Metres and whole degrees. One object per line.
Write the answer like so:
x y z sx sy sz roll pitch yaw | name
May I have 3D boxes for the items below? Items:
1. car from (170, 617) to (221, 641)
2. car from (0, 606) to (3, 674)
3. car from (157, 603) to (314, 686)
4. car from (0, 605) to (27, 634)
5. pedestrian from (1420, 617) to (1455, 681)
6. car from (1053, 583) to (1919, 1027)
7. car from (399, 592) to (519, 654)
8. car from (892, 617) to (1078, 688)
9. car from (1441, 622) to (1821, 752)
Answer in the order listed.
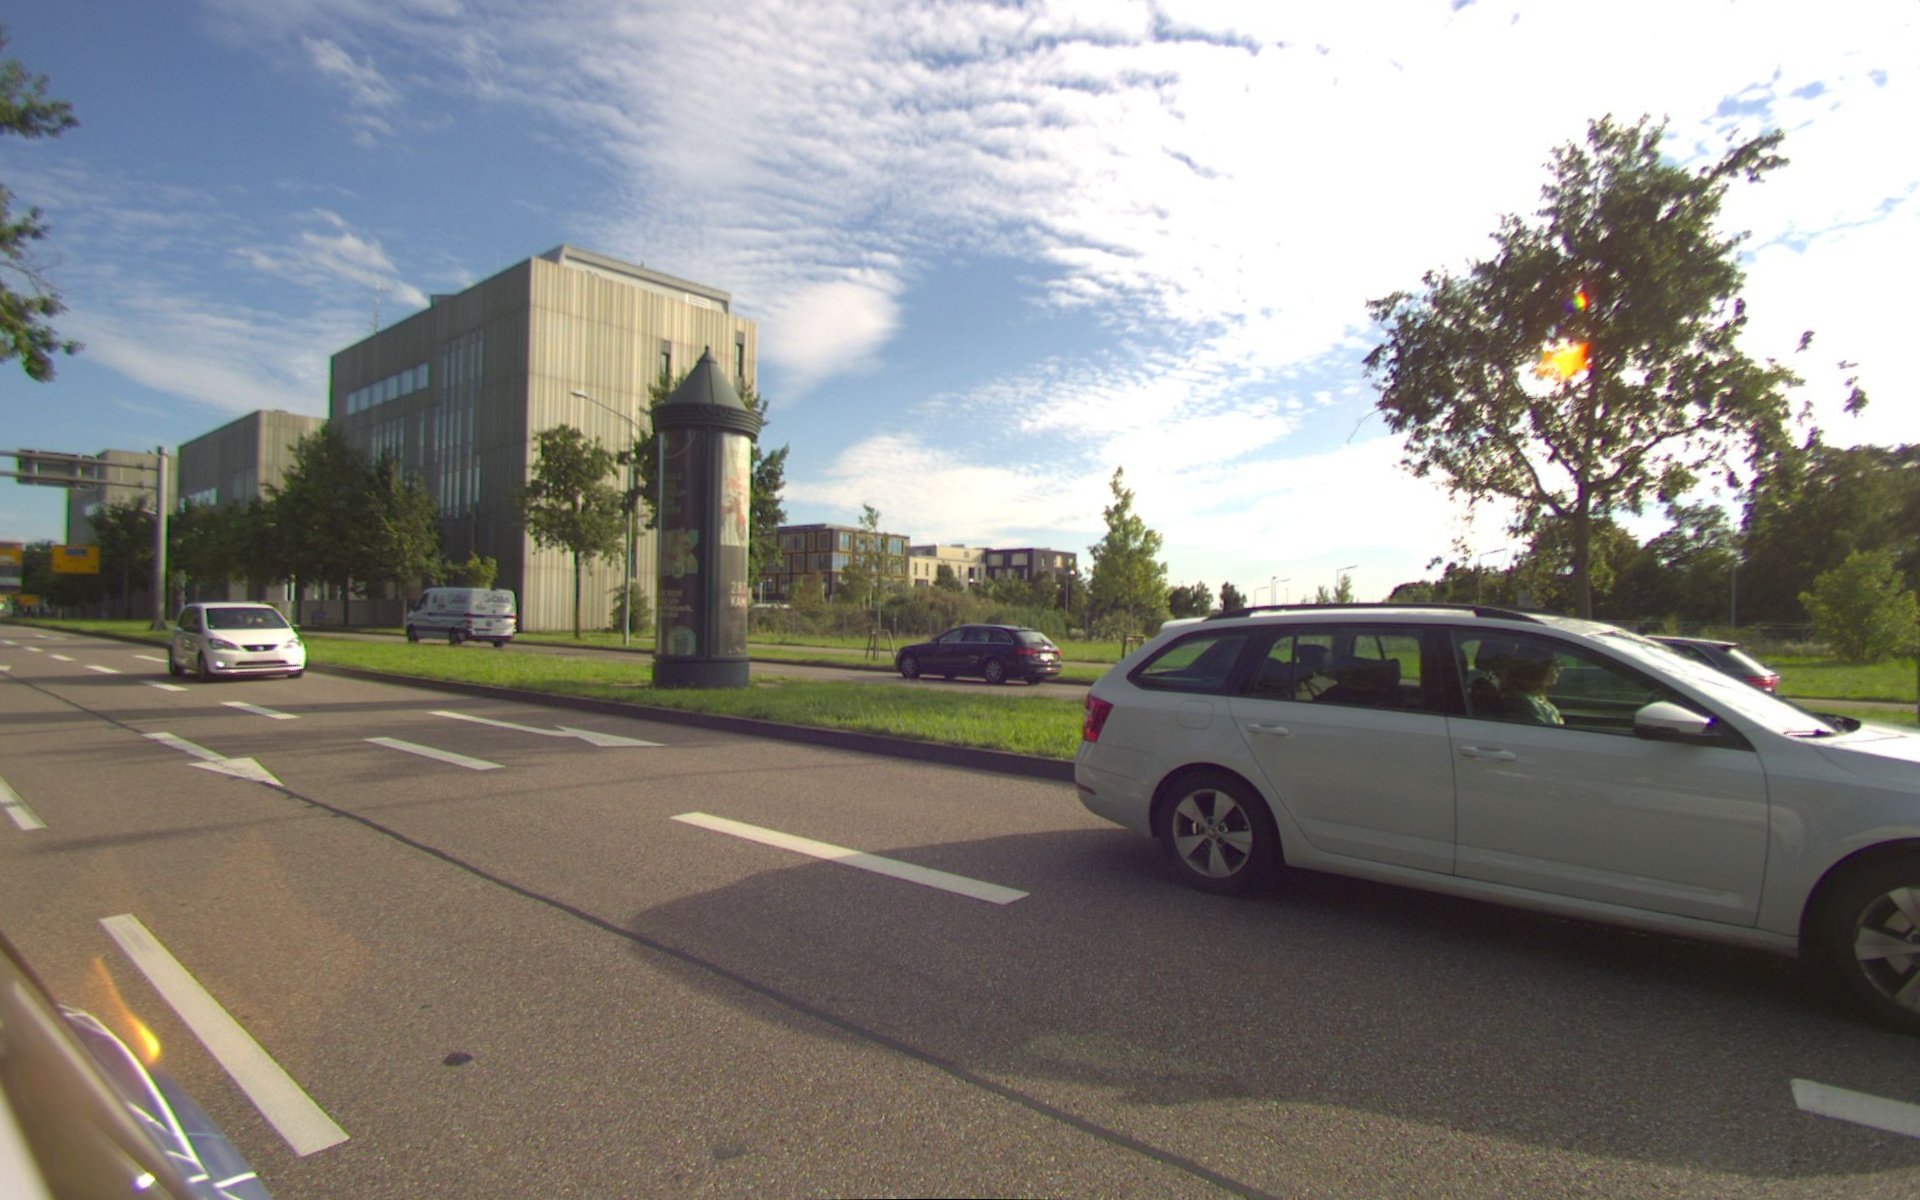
-49.989 1.880 66.167 4.453 1.475 1.831 0 -1 41 | car
-24.548 0.948 24.327 4.845 1.578 1.972 0 0 43 | car
-14.262 0.801 19.864 3.658 1.475 1.743 0 -1 41 | car
-48.296 0.968 50.662 4.444 1.431 1.800 -1 -2 40 | car
12.602 1.273 26.704 0.658 1.642 0.620 -1 -1 43 | pedestrian
2.852 0.686 4.818 4.637 1.456 1.831 0 -1 41 | car
-20.069 0.913 40.439 5.534 2.272 2.007 0 -3 38 | car
0.555 1.278 25.131 4.453 1.584 1.831 0 -4 41 | car
8.909 1.091 13.613 4.066 1.445 1.831 0 -4 41 | car
